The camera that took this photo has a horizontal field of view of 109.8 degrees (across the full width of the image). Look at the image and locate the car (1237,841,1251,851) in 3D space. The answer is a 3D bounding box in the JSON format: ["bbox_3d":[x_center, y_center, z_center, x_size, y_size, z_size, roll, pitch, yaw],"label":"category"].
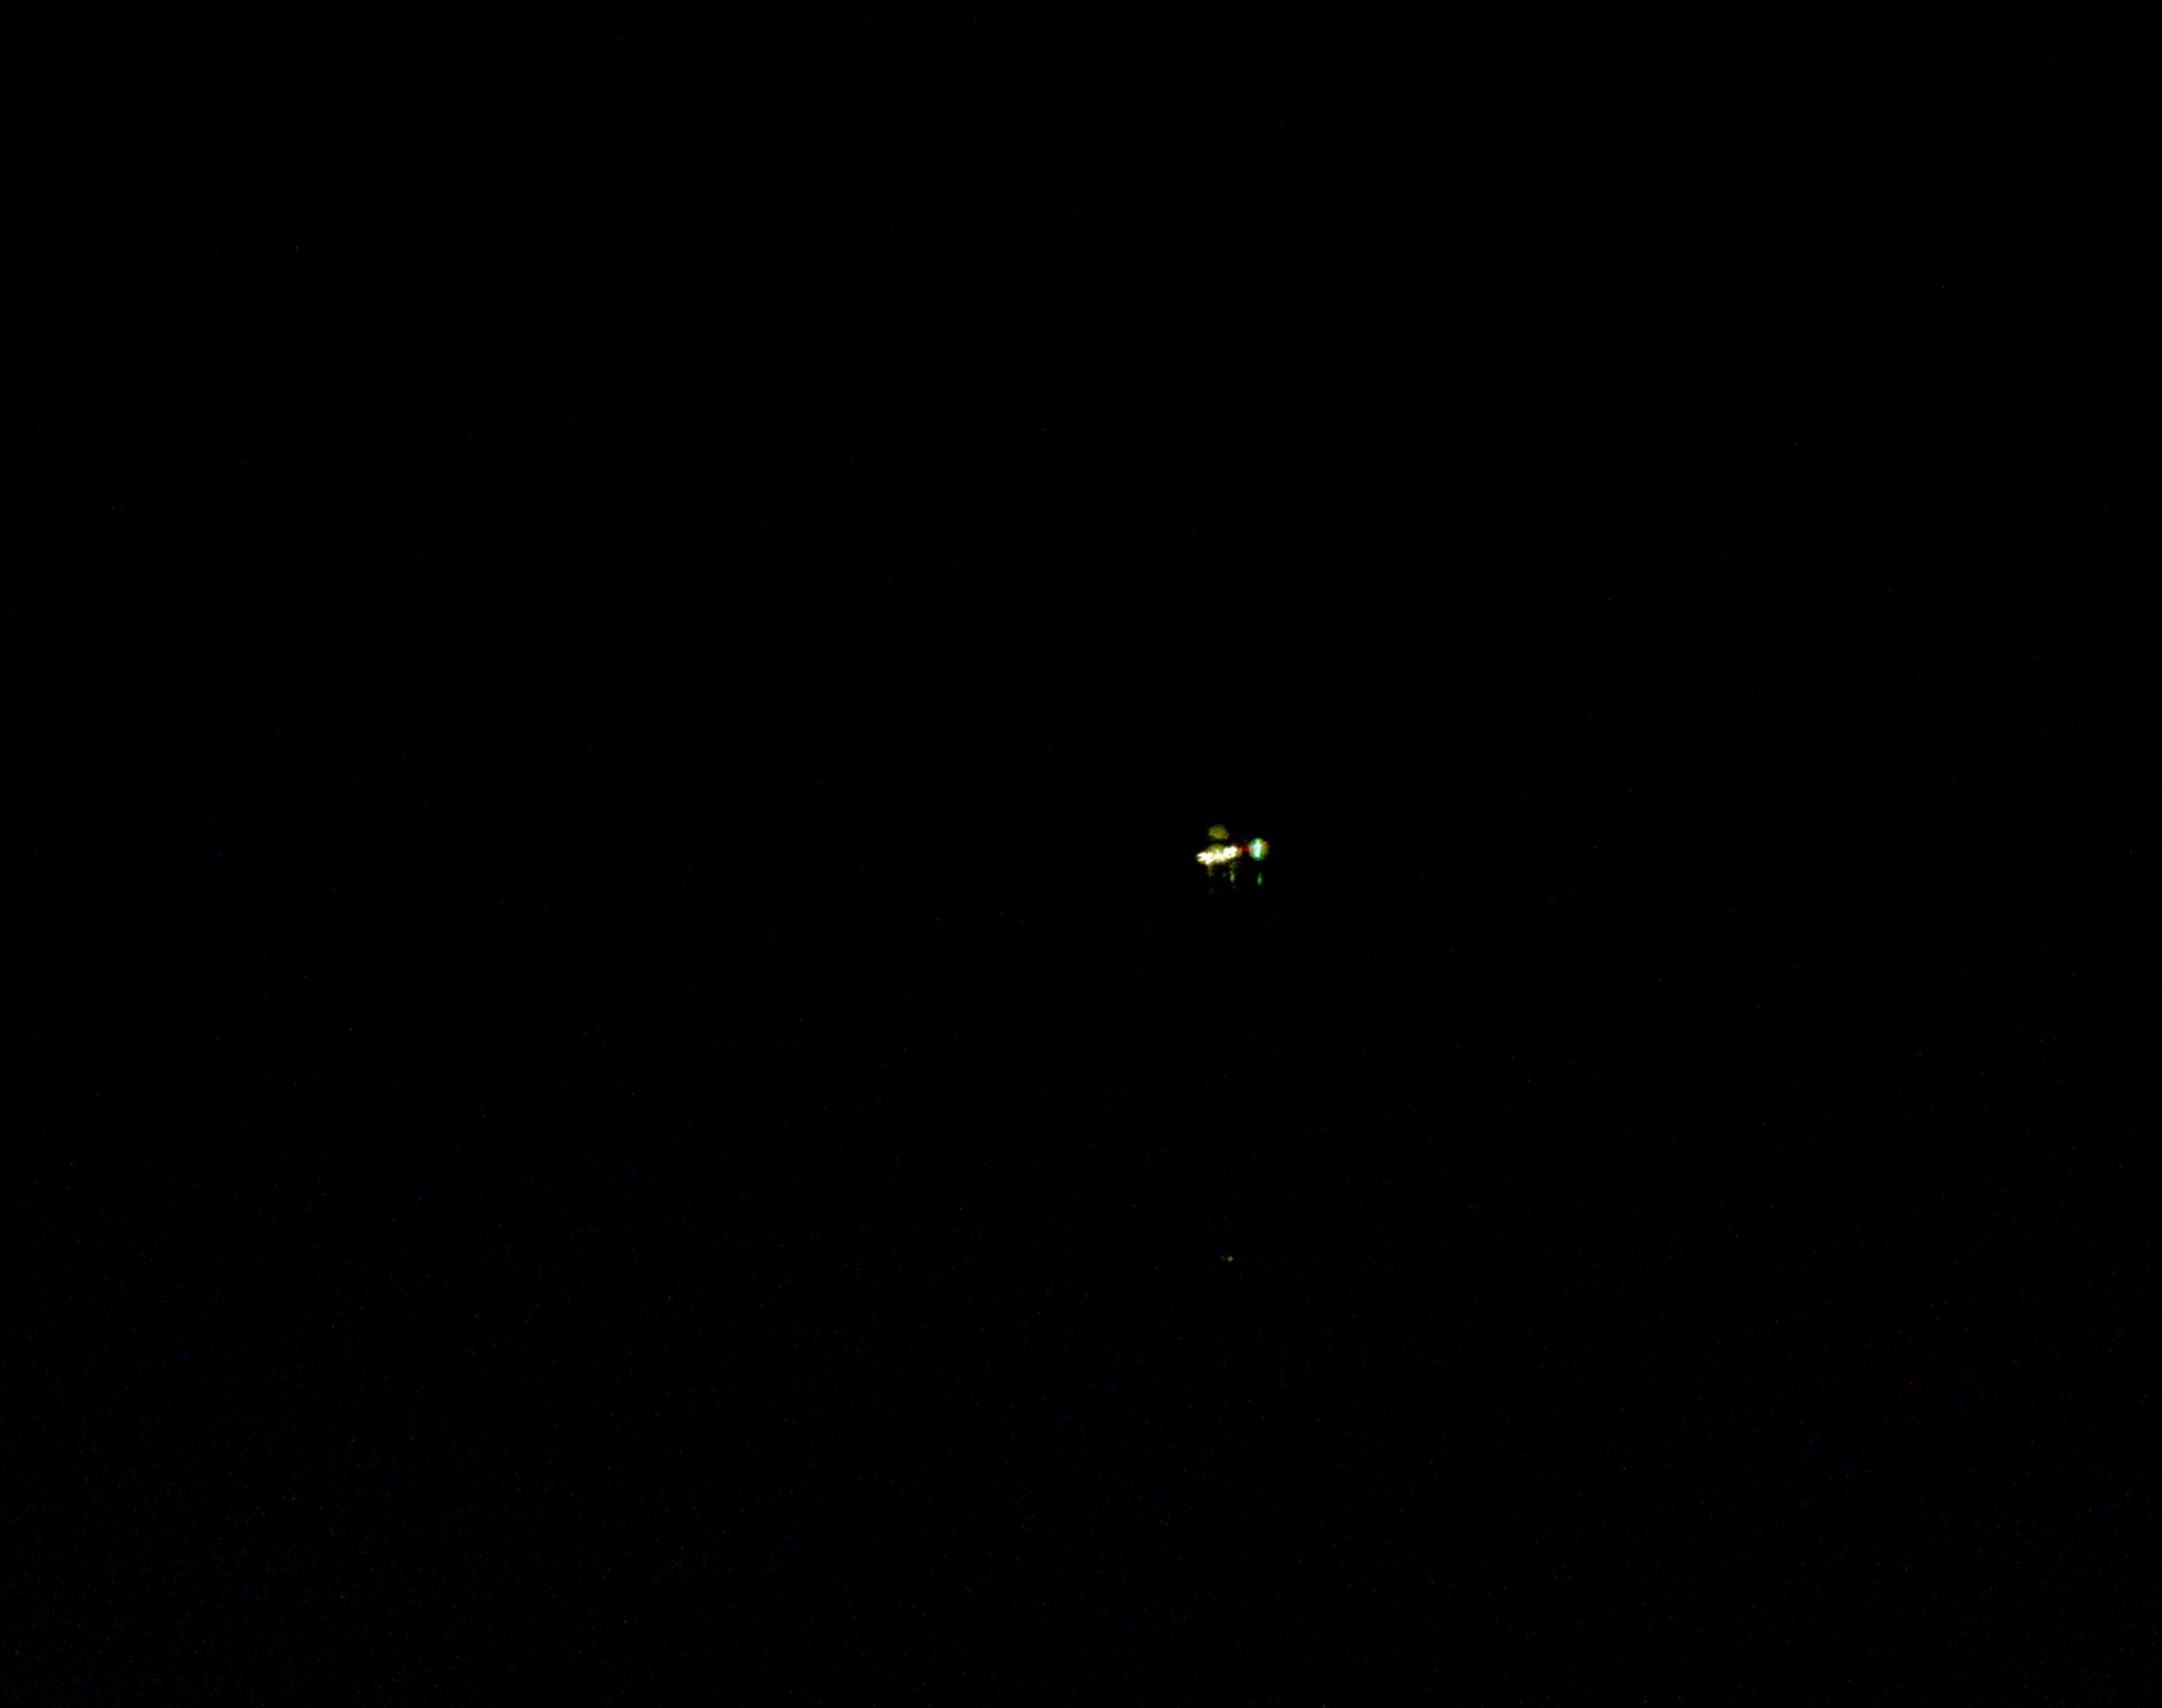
[{"bbox_3d":[31.613,-1.476,147.454,1.862,1.737,4.968,-2,2,20],"label":"car"}]
